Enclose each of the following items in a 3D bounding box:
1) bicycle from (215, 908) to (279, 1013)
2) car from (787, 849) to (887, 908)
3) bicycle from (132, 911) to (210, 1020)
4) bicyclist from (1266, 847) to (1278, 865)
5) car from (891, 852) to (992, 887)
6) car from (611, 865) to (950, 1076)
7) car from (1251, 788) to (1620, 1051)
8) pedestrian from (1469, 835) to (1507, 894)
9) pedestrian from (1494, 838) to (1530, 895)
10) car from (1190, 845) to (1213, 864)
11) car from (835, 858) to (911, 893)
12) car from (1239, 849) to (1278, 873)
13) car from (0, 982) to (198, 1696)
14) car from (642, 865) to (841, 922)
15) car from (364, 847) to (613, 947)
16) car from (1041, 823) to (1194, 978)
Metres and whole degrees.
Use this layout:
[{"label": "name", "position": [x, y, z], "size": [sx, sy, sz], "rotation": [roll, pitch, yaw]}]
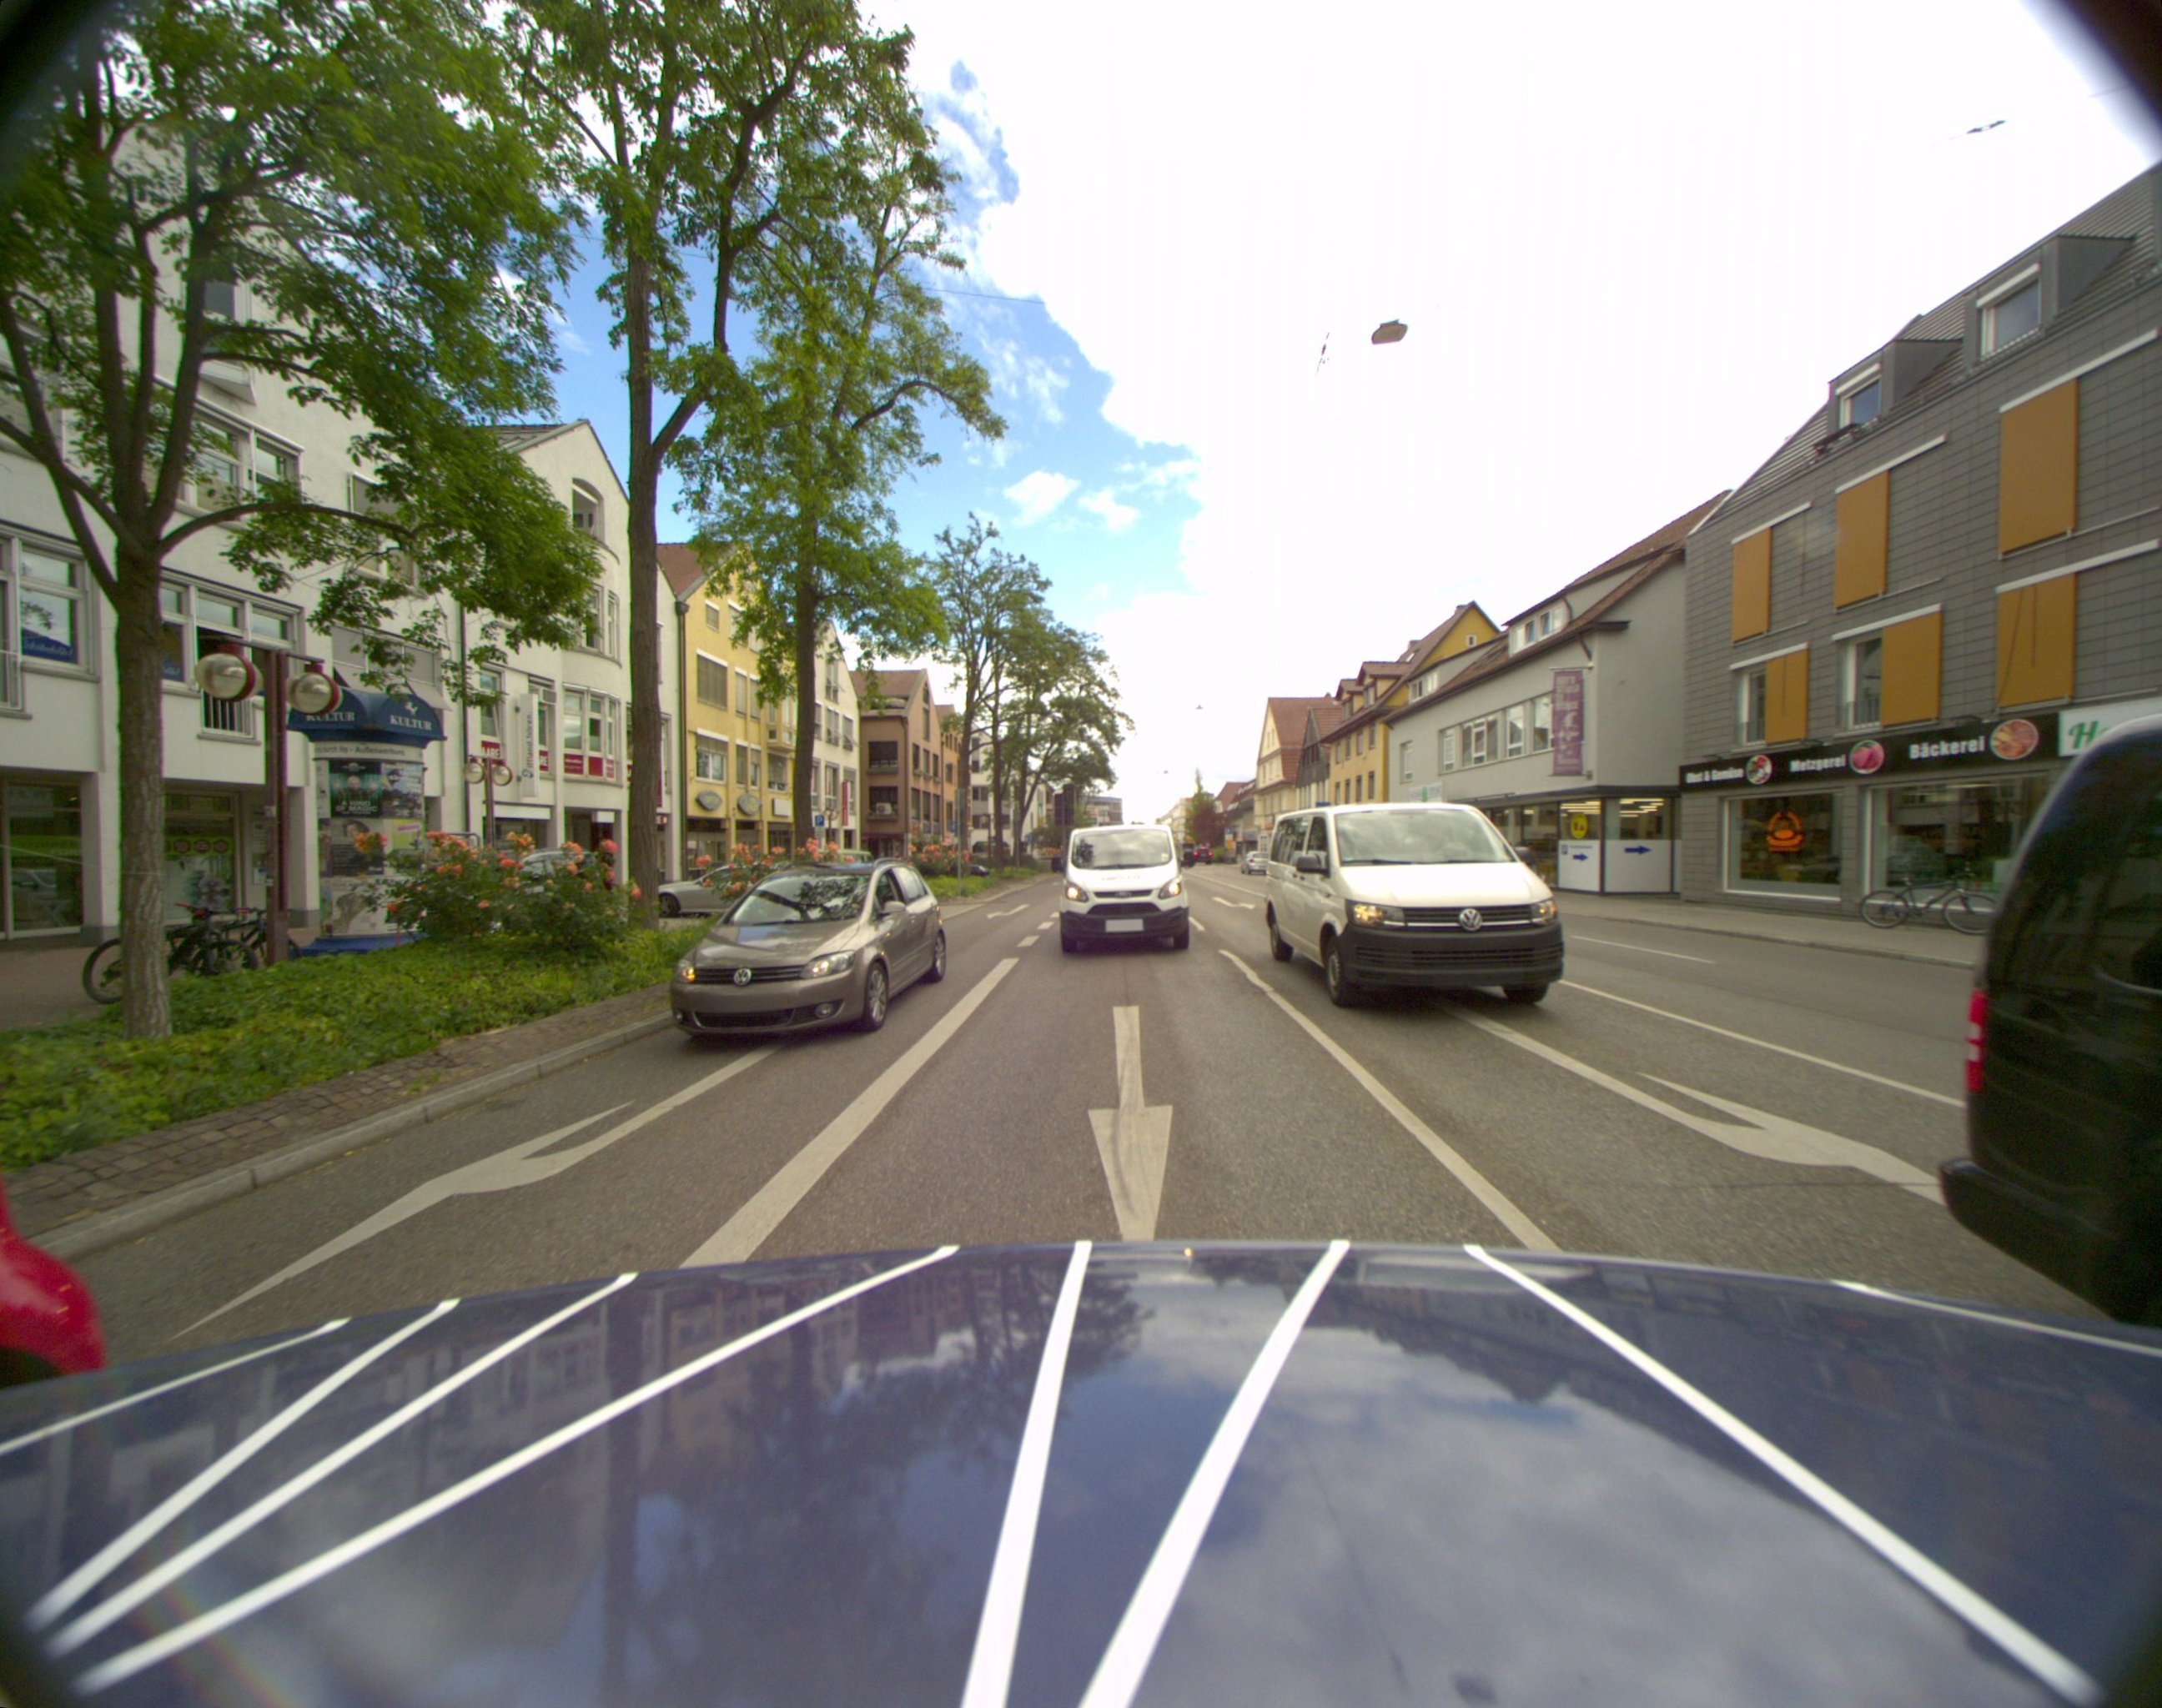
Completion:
[{"label": "bicycle", "position": [-9.715, 1.197, 8.878], "size": [0.407, 1.042, 1.565], "rotation": [-2, 1, -45]}, {"label": "car", "position": [-8.568, 0.777, 27.186], "size": [1.998, 1.865, 4.753], "rotation": [0, 1, 1]}, {"label": "bicycle", "position": [-10.381, 1.229, 8.700], "size": [0.407, 1.042, 1.565], "rotation": [-2, 1, -45]}, {"label": "bicyclist", "position": [15.153, 0.170, 60.304], "size": [0.773, 1.415, 0.752], "rotation": [-1, 1, 3]}, {"label": "car", "position": [-6.893, 0.770, 37.971], "size": [4.752, 1.669, 1.999], "rotation": [0, 0, -5]}, {"label": "car", "position": [-2.720, 0.952, 7.988], "size": [1.801, 1.521, 4.000], "rotation": [-3, 0, 2]}, {"label": "car", "position": [3.315, 0.509, 8.382], "size": [1.998, 2.002, 4.841], "rotation": [-2, 0, 3]}, {"label": "pedestrian", "position": [12.957, 0.323, 24.196], "size": [0.708, 1.828, 1.028], "rotation": [-1, 1, 5]}, {"label": "pedestrian", "position": [13.730, 0.386, 24.211], "size": [0.708, 1.771, 0.870], "rotation": [-1, 1, 5]}, {"label": "car", "position": [12.949, 0.065, 82.017], "size": [1.927, 1.957, 4.770], "rotation": [1, 0, 3]}, {"label": "car", "position": [-8.716, 0.859, 32.306], "size": [1.842, 1.302, 4.753], "rotation": [0, 1, 1]}, {"label": "car", "position": [11.297, 0.405, 48.556], "size": [1.763, 1.440, 4.036], "rotation": [0, 1, 4]}, {"label": "car", "position": [-3.200, 1.091, 0.148], "size": [1.630, 1.440, 3.643], "rotation": [-3, 0, 3]}, {"label": "car", "position": [-9.128, 1.039, 20.667], "size": [4.648, 1.445, 1.740], "rotation": [0, 1, 3]}, {"label": "car", "position": [-11.941, 0.765, 15.758], "size": [1.738, 1.793, 4.261], "rotation": [0, 0, 1]}, {"label": "car", "position": [0.655, 0.601, 12.919], "size": [1.939, 1.968, 5.781], "rotation": [-3, 0, 4]}]
